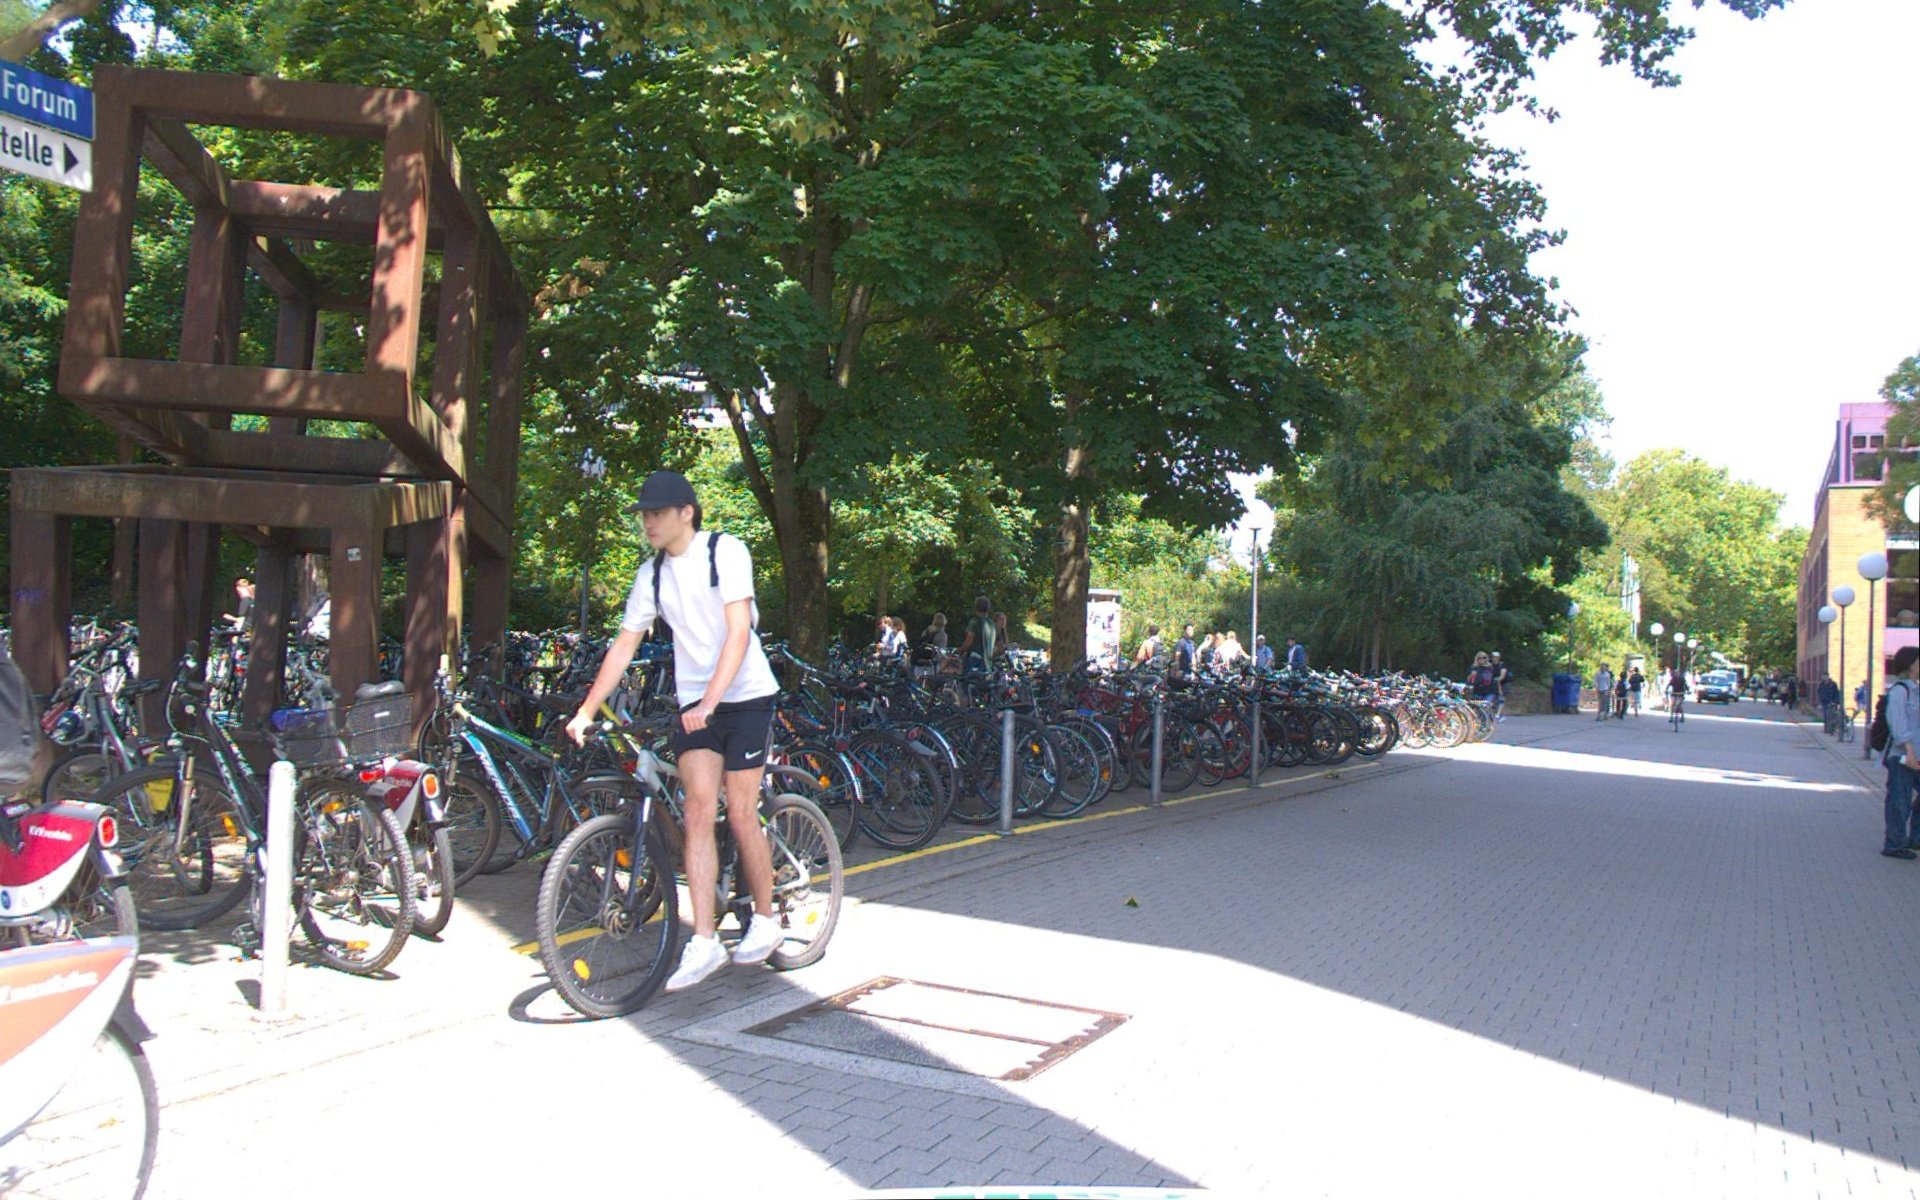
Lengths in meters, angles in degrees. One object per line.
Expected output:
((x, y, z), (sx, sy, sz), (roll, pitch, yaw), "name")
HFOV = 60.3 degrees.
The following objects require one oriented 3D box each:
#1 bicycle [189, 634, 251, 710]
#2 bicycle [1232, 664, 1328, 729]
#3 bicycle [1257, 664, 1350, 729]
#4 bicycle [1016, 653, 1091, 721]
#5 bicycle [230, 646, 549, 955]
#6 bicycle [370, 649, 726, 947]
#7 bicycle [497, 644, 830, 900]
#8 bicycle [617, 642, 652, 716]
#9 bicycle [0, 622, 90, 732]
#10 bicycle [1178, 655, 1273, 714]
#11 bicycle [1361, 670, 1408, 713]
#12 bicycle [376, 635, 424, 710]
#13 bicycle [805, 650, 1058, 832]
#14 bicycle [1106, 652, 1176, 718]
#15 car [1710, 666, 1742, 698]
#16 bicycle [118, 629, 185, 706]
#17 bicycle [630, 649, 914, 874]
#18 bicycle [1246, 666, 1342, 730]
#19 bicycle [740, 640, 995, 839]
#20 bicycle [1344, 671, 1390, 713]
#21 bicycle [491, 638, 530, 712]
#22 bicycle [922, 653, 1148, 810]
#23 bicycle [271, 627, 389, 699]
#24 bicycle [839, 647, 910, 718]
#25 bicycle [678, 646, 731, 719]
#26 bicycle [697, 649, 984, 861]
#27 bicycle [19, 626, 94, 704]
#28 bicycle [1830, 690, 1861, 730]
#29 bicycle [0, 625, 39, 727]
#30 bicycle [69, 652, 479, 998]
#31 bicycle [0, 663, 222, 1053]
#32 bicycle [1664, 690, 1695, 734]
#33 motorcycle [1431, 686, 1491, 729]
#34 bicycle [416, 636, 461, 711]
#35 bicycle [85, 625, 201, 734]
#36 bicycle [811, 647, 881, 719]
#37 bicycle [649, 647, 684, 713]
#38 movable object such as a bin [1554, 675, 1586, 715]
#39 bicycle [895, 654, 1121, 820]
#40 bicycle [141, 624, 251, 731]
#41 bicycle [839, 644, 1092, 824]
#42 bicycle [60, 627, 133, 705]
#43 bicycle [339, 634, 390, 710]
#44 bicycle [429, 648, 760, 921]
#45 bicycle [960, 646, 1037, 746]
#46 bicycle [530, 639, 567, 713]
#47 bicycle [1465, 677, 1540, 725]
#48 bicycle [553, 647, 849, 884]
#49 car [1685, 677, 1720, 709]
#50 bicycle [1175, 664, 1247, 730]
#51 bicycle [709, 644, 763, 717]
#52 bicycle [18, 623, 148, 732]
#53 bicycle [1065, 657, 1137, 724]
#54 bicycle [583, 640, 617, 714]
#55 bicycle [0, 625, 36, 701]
((-11.210, 1.073, 25.094), (0.464, 1.102, 1.694), (3, -2, -12), "bicycle")
((5.871, 1.760, 30.392), (1.666, 1.102, 0.472), (1, -2, 37), "bicycle")
((6.478, 1.816, 31.232), (1.667, 1.130, 0.472), (1, -2, 39), "bicycle")
((1.611, 1.500, 28.780), (0.467, 1.102, 1.684), (3, -2, -28), "bicycle")
((-2.457, 0.788, 7.038), (1.598, 1.127, 0.495), (1, 0, 38), "bicycle")
((-1.827, 0.816, 7.257), (1.595, 1.127, 0.496), (2, -2, 32), "bicycle")
((-1.513, 0.822, 8.367), (1.595, 1.127, 0.628), (2, -2, 31), "bicycle")
((-5.155, 1.225, 26.159), (0.464, 1.102, 1.694), (3, -2, -12), "bicycle")
((-10.262, 0.822, 18.137), (0.491, 1.127, 1.905), (3, -2, -4), "bicycle")
((5.538, 1.752, 34.452), (1.862, 1.065, 0.542), (4, -2, 14), "bicycle")
((11.777, 2.524, 45.925), (0.465, 1.065, 1.693), (4, -1, -14), "bicycle")
((-8.618, 1.098, 25.488), (0.464, 1.102, 1.694), (3, -2, -12), "bicycle")
((-0.196, 0.950, 11.493), (1.591, 1.127, 0.645), (2, -2, 21), "bicycle")
((3.236, 1.505, 29.670), (0.466, 1.102, 1.688), (3, -2, -22), "bicycle")
((51.781, 5.522, 111.751), (1.847, 2.009, 5.209), (1, -2, 26), "car")
((-12.184, 1.003, 24.972), (0.464, 1.102, 1.694), (3, -2, -12), "bicycle")
((-1.083, 0.878, 9.398), (1.595, 1.127, 0.496), (2, -2, 32), "bicycle")
((6.214, 1.815, 30.781), (1.690, 1.102, 0.472), (1, -2, 37), "bicycle")
((-0.616, 0.883, 10.847), (1.593, 1.171, 0.496), (2, -2, 27), "bicycle")
((11.217, 2.526, 45.664), (0.464, 1.065, 1.693), (3, -2, -14), "bicycle")
((-7.049, 1.163, 25.978), (0.464, 1.102, 1.694), (3, -2, -12), "bicycle")
((0.596, 1.038, 13.430), (1.693, 1.127, 0.716), (1, -2, 37), "bicycle")
((-10.219, 1.021, 26.874), (1.665, 1.102, 0.602), (3, -2, -14), "bicycle")
((-1.446, 1.374, 27.660), (0.467, 1.102, 1.684), (3, -2, -28), "bicycle")
((-4.159, 1.316, 26.813), (0.466, 1.102, 1.689), (3, -2, -21), "bicycle")
((-0.735, 0.902, 10.029), (1.595, 1.127, 0.689), (2, -2, 31), "bicycle")
((-13.415, 0.954, 24.588), (0.464, 1.102, 1.694), (3, -2, -12), "bicycle")
((26.184, 3.248, 48.922), (0.694, 1.112, 1.747), (1, -2, 25), "bicycle")
((-10.895, 0.838, 18.197), (0.491, 1.127, 1.905), (3, -2, -4), "bicycle")
((-2.606, 0.788, 6.243), (1.592, 1.127, 0.496), (1, 0, 26), "bicycle")
((-3.257, 0.794, 5.569), (1.592, 1.127, 0.496), (1, 0, 26), "bicycle")
((19.983, 3.096, 45.950), (0.756, 1.171, 2.107), (0, -3, 23), "bicycle")
((14.223, 3.040, 47.003), (0.466, 1.065, 2.014), (3, 0, -21), "motorcycle")
((-8.079, 1.127, 25.678), (0.464, 1.102, 1.694), (3, -2, -12), "bicycle")
((-9.084, 0.861, 18.463), (0.491, 1.127, 1.904), (3, -2, -7), "bicycle")
((-1.896, 1.365, 27.420), (0.467, 1.102, 1.684), (3, -2, -28), "bicycle")
((-4.672, 1.253, 26.273), (0.443, 0.979, 1.734), (3, -2, -12), "bicycle")
((22.177, 3.451, 60.150), (0.697, 1.359, 1.234), (4, -1, 36), "movable object such as a bin")
((0.360, 1.008, 12.475), (1.591, 1.127, 0.497), (2, -2, 22), "bicycle")
((-8.566, 0.848, 18.608), (0.491, 1.127, 1.904), (3, -2, -7), "bicycle")
((0.037, 0.952, 12.086), (1.743, 1.182, 0.497), (2, -2, 22), "bicycle")
((-12.813, 0.968, 24.578), (0.464, 1.102, 1.694), (3, -2, -12), "bicycle")
((-9.129, 1.086, 25.381), (0.464, 1.102, 1.694), (3, -2, -12), "bicycle")
((-1.756, 0.829, 7.859), (1.595, 1.127, 0.496), (2, -2, 32), "bicycle")
((0.483, 1.238, 21.686), (0.564, 1.221, 1.694), (3, -2, -13), "bicycle")
((-6.473, 1.175, 26.068), (0.464, 1.102, 1.694), (3, -2, -12), "bicycle")
((13.922, 2.595, 42.443), (1.806, 1.130, 0.473), (3, -2, -12), "bicycle")
((-1.420, 0.856, 8.956), (1.595, 1.127, 0.505), (2, -2, 32), "bicycle")
((45.068, 5.603, 100.352), (1.755, 1.793, 4.476), (1, -2, 26), "car")
((4.559, 1.755, 30.109), (0.466, 1.102, 1.688), (3, -2, -22), "bicycle")
((-3.655, 1.293, 26.942), (0.466, 1.102, 1.689), (3, -2, -21), "bicycle")
((-9.753, 0.842, 18.466), (0.491, 1.127, 1.905), (3, -2, -4), "bicycle")
((2.489, 1.595, 29.400), (0.466, 1.102, 1.686), (3, -2, -25), "bicycle")
((-5.709, 1.197, 26.213), (0.464, 1.102, 1.694), (3, -2, -12), "bicycle")
((-14.379, 0.933, 24.584), (0.463, 1.102, 1.697), (3, -2, -7), "bicycle")
